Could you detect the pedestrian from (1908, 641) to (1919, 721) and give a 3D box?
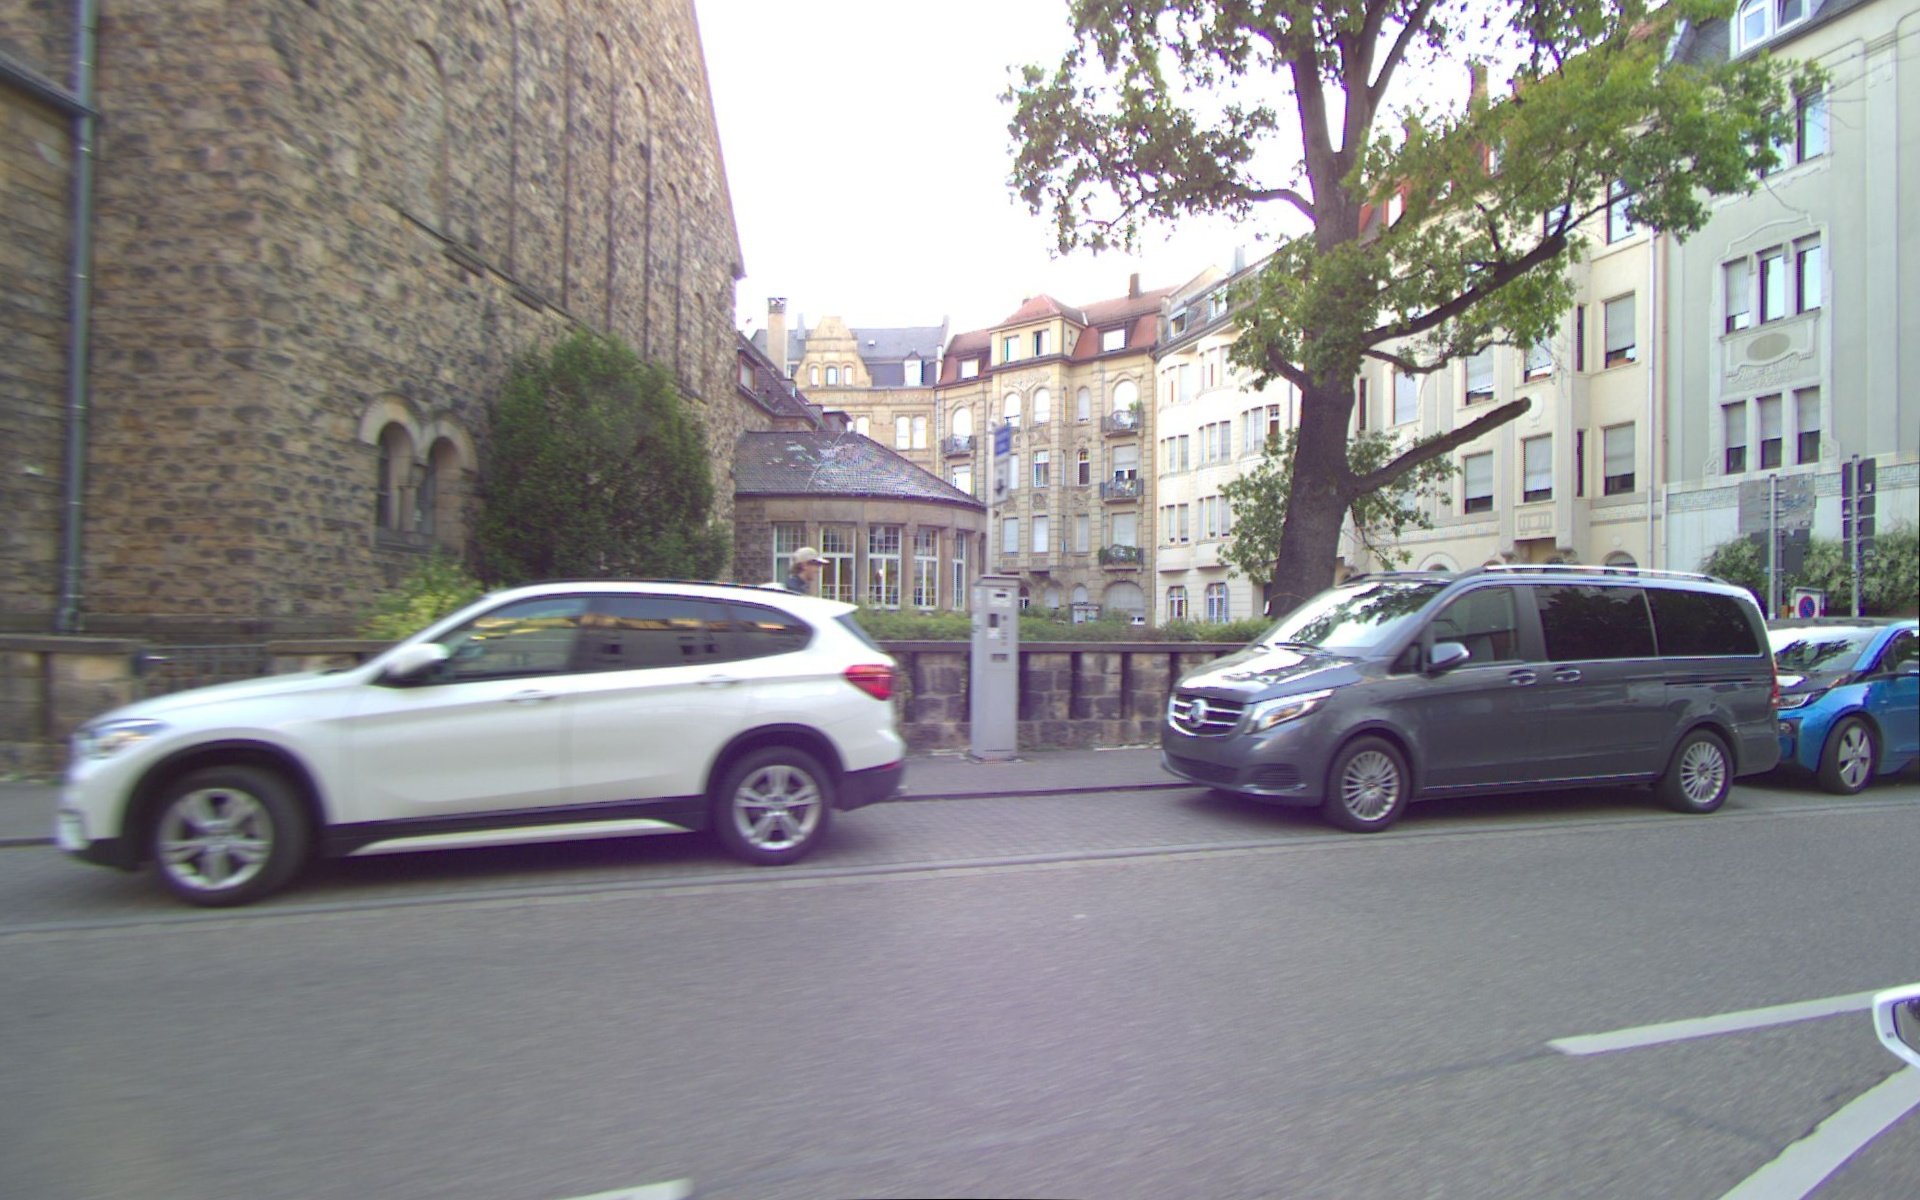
[{"bbox_3d":[19.054,1.575,19.474,0.772,1.560,0.701,1,-2,-20],"label":"pedestrian"}]

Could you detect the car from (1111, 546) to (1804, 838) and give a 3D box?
[{"bbox_3d":[4.039,0.662,8.256,5.205,1.891,1.993,1,-1,-18],"label":"car"}]

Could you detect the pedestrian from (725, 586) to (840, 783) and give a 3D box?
[{"bbox_3d":[-1.495,0.687,8.441,0.827,1.572,0.581,1,0,-22],"label":"pedestrian"}]

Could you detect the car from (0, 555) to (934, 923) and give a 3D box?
[{"bbox_3d":[-2.534,0.678,6.050,4.401,1.613,1.869,1,-2,-21],"label":"car"}]

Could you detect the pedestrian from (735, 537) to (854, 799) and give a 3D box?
[{"bbox_3d":[-1.298,0.514,7.845,0.791,1.930,0.581,1,-1,-22],"label":"pedestrian"}]

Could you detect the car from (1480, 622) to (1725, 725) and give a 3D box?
[{"bbox_3d":[12.777,1.400,20.305,1.859,1.868,3.988,1,-2,-15],"label":"car"}]

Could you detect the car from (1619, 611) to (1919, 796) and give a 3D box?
[{"bbox_3d":[8.741,0.931,9.896,3.939,1.576,1.640,1,-1,-17],"label":"car"}]
